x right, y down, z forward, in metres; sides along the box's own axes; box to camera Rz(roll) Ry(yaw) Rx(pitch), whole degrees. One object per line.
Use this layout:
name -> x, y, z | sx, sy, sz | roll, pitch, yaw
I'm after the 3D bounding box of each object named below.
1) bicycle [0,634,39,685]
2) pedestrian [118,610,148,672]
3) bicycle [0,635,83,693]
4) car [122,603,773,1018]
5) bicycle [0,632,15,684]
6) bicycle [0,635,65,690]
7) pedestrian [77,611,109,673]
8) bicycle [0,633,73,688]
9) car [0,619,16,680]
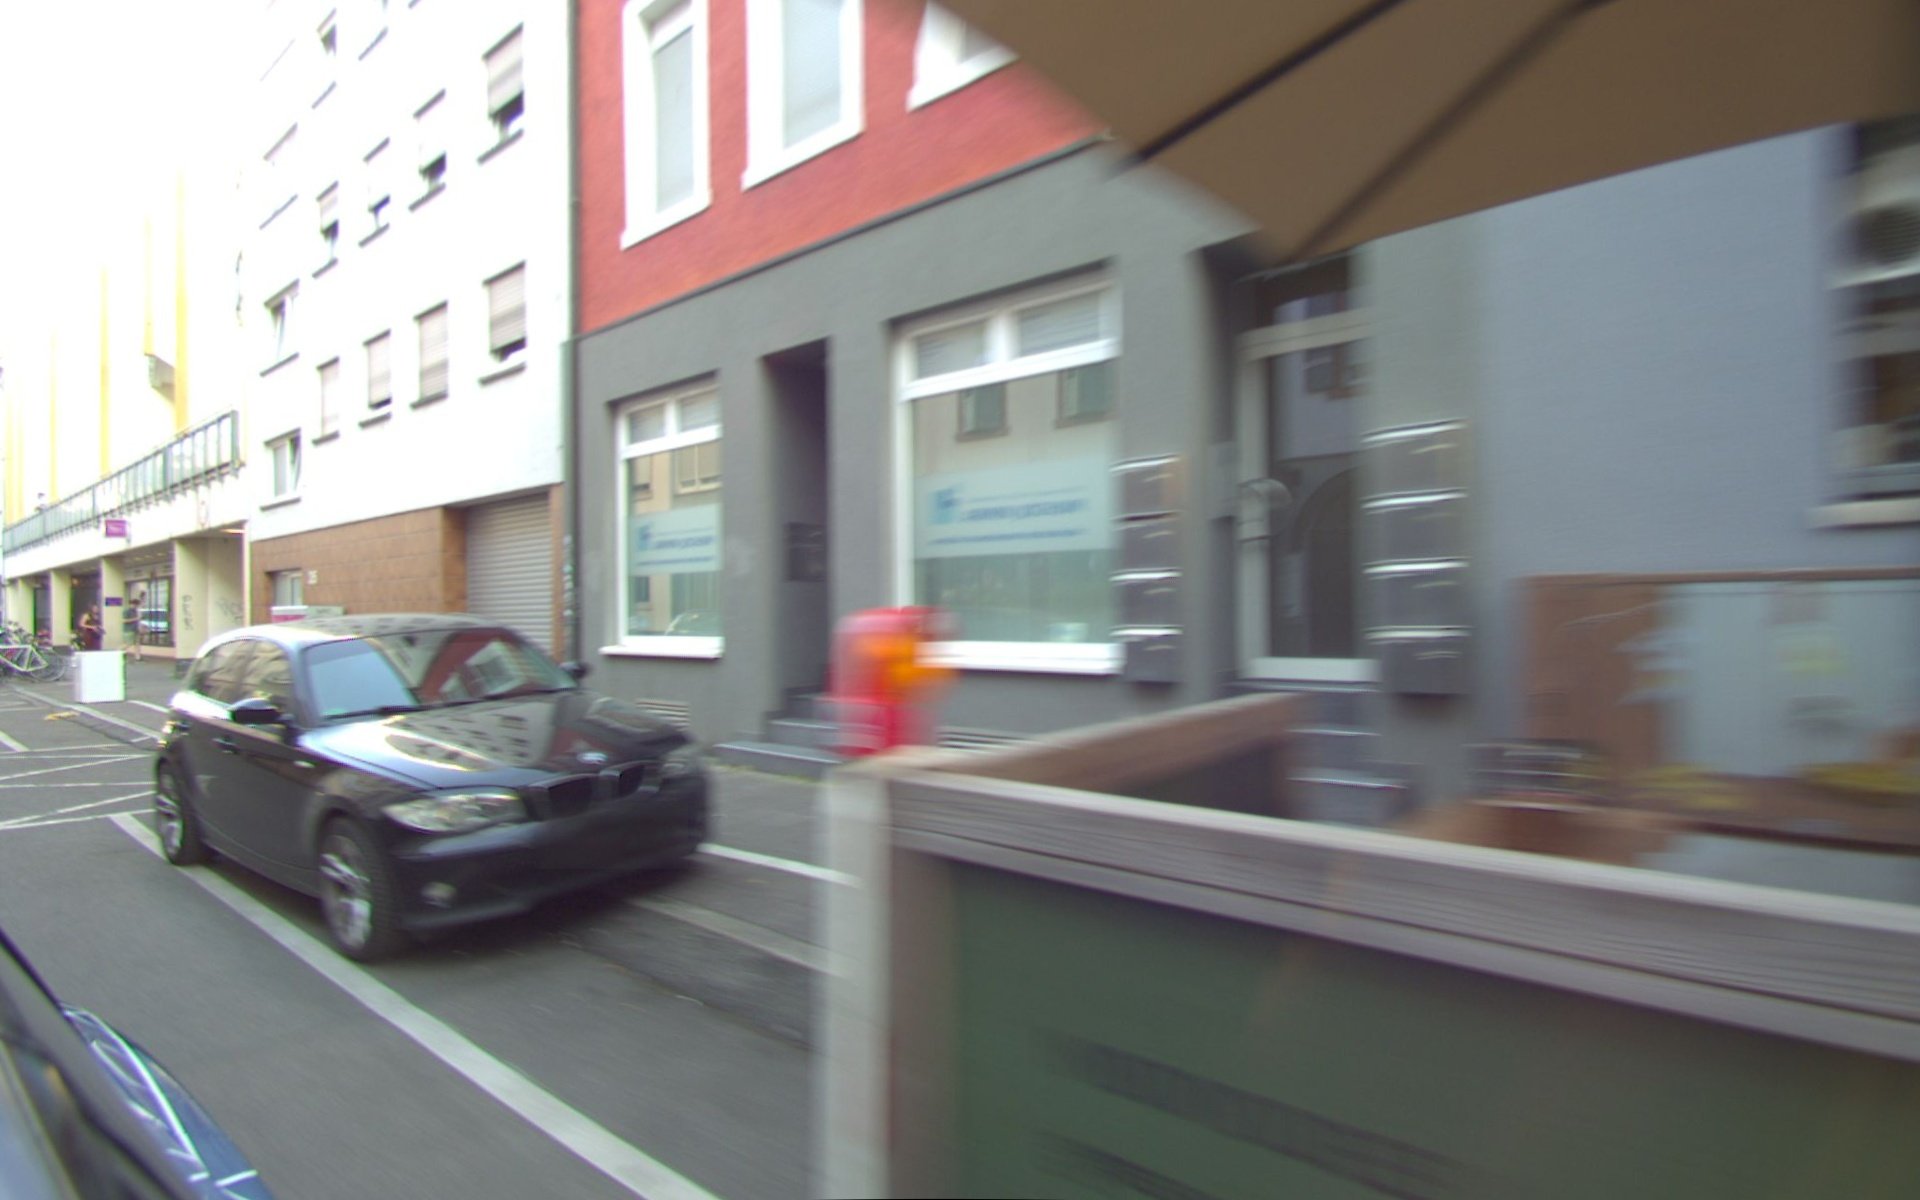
bicycle -> -24.047, 1.477, 24.606 | 2.446, 1.187, 0.785 | -1, 0, -43
pedestrian -> -23.156, 1.140, 28.352 | 0.632, 1.675, 0.719 | 0, -1, -39
bicycle -> -20.847, 1.409, 22.154 | 2.446, 1.187, 0.785 | -1, 0, -43
car -> -3.050, 0.796, 5.598 | 4.131, 1.471, 1.700 | -2, -1, 39
bicycle -> -26.313, 1.553, 26.367 | 2.446, 1.340, 0.785 | -1, 0, -43
bicycle -> -22.267, 1.455, 23.305 | 2.446, 1.187, 0.785 | -1, 0, -43
pedestrian -> -23.796, 1.148, 27.779 | 0.632, 1.675, 0.719 | 0, -1, -39
bicycle -> -21.574, 1.372, 22.734 | 2.446, 1.187, 0.785 | -1, 0, -43
car -> -28.724, 1.420, 29.047 | 4.456, 1.689, 1.973 | -2, -1, 41
